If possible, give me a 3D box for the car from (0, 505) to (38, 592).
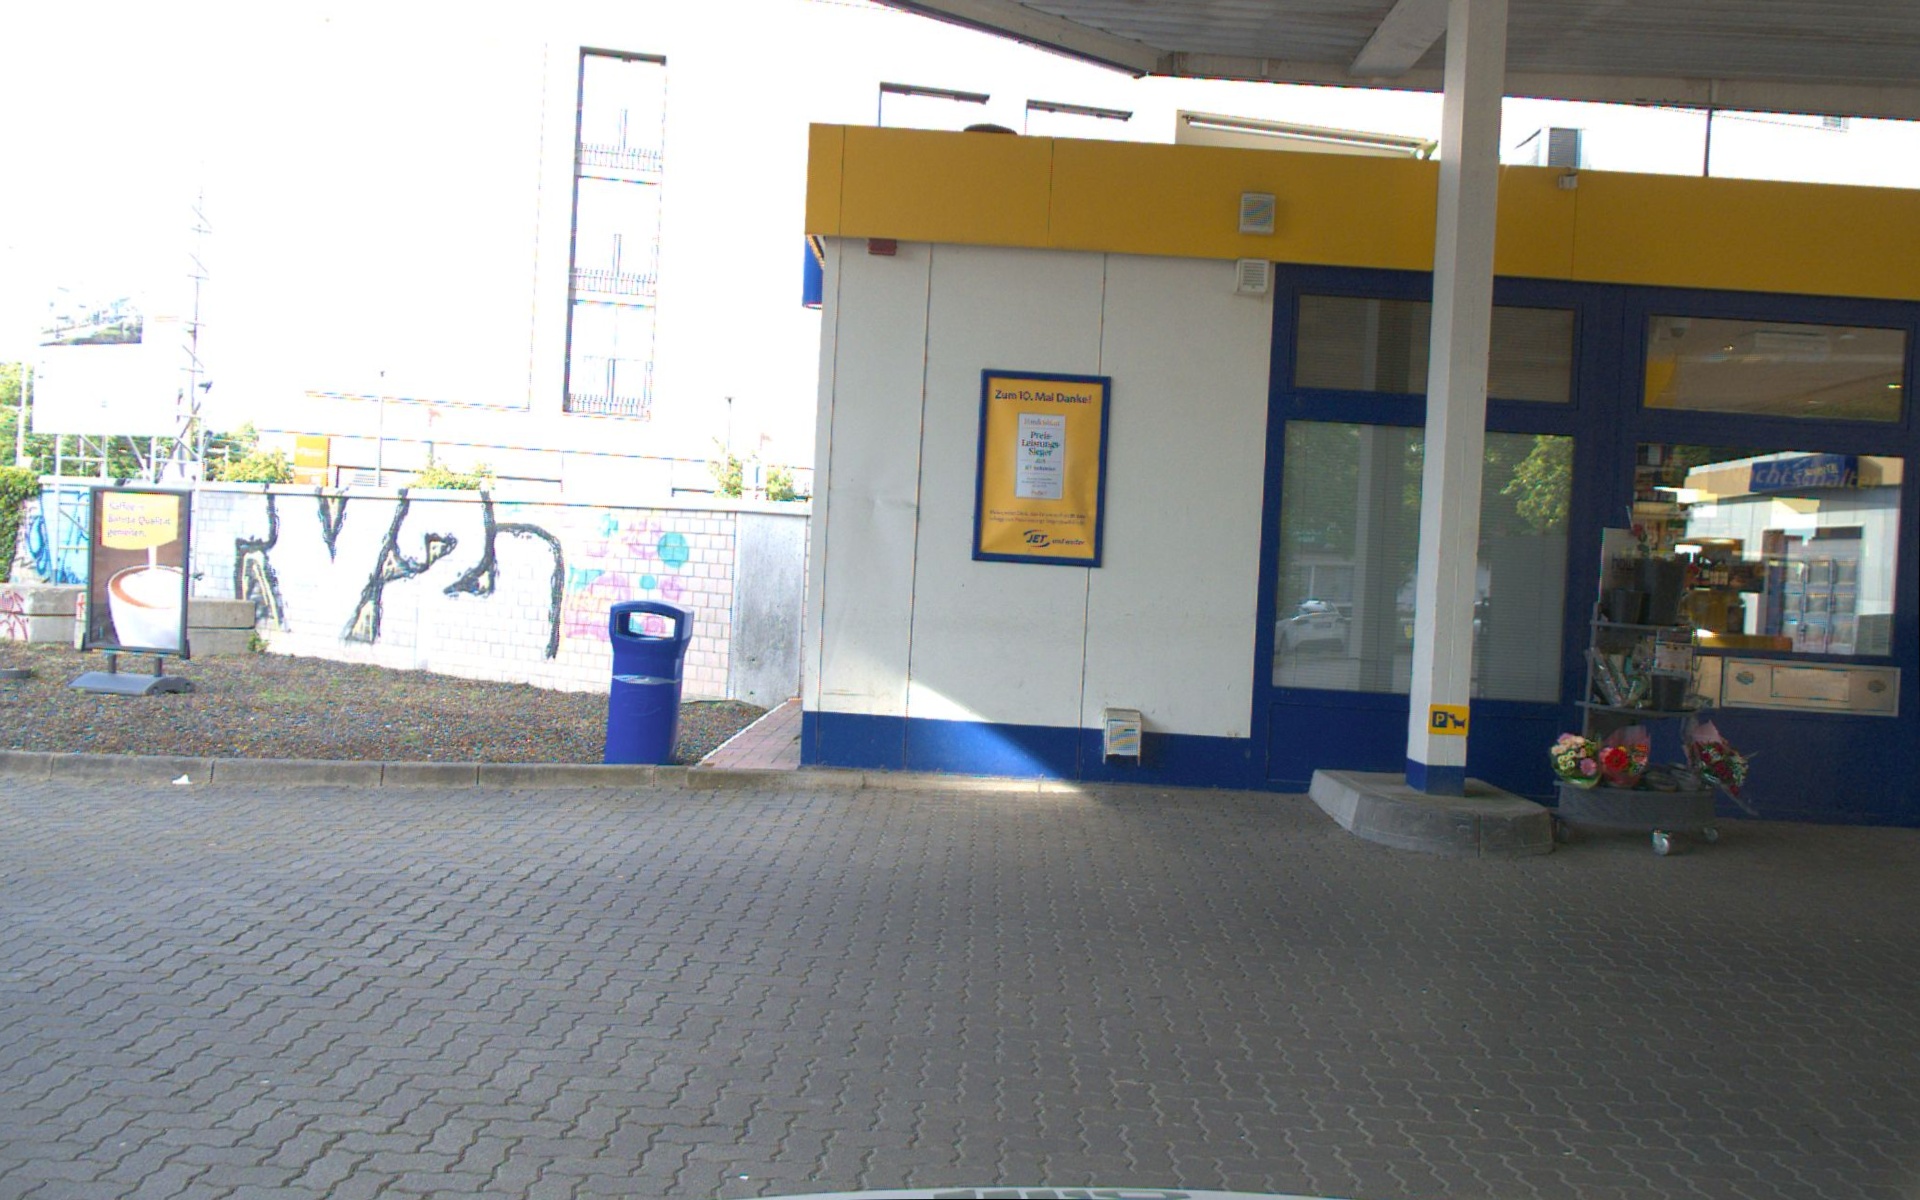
[{"bbox_3d":[-22.179,-1.178,36.534,1.928,1.922,4.397,3,1,-13],"label":"car"}]
